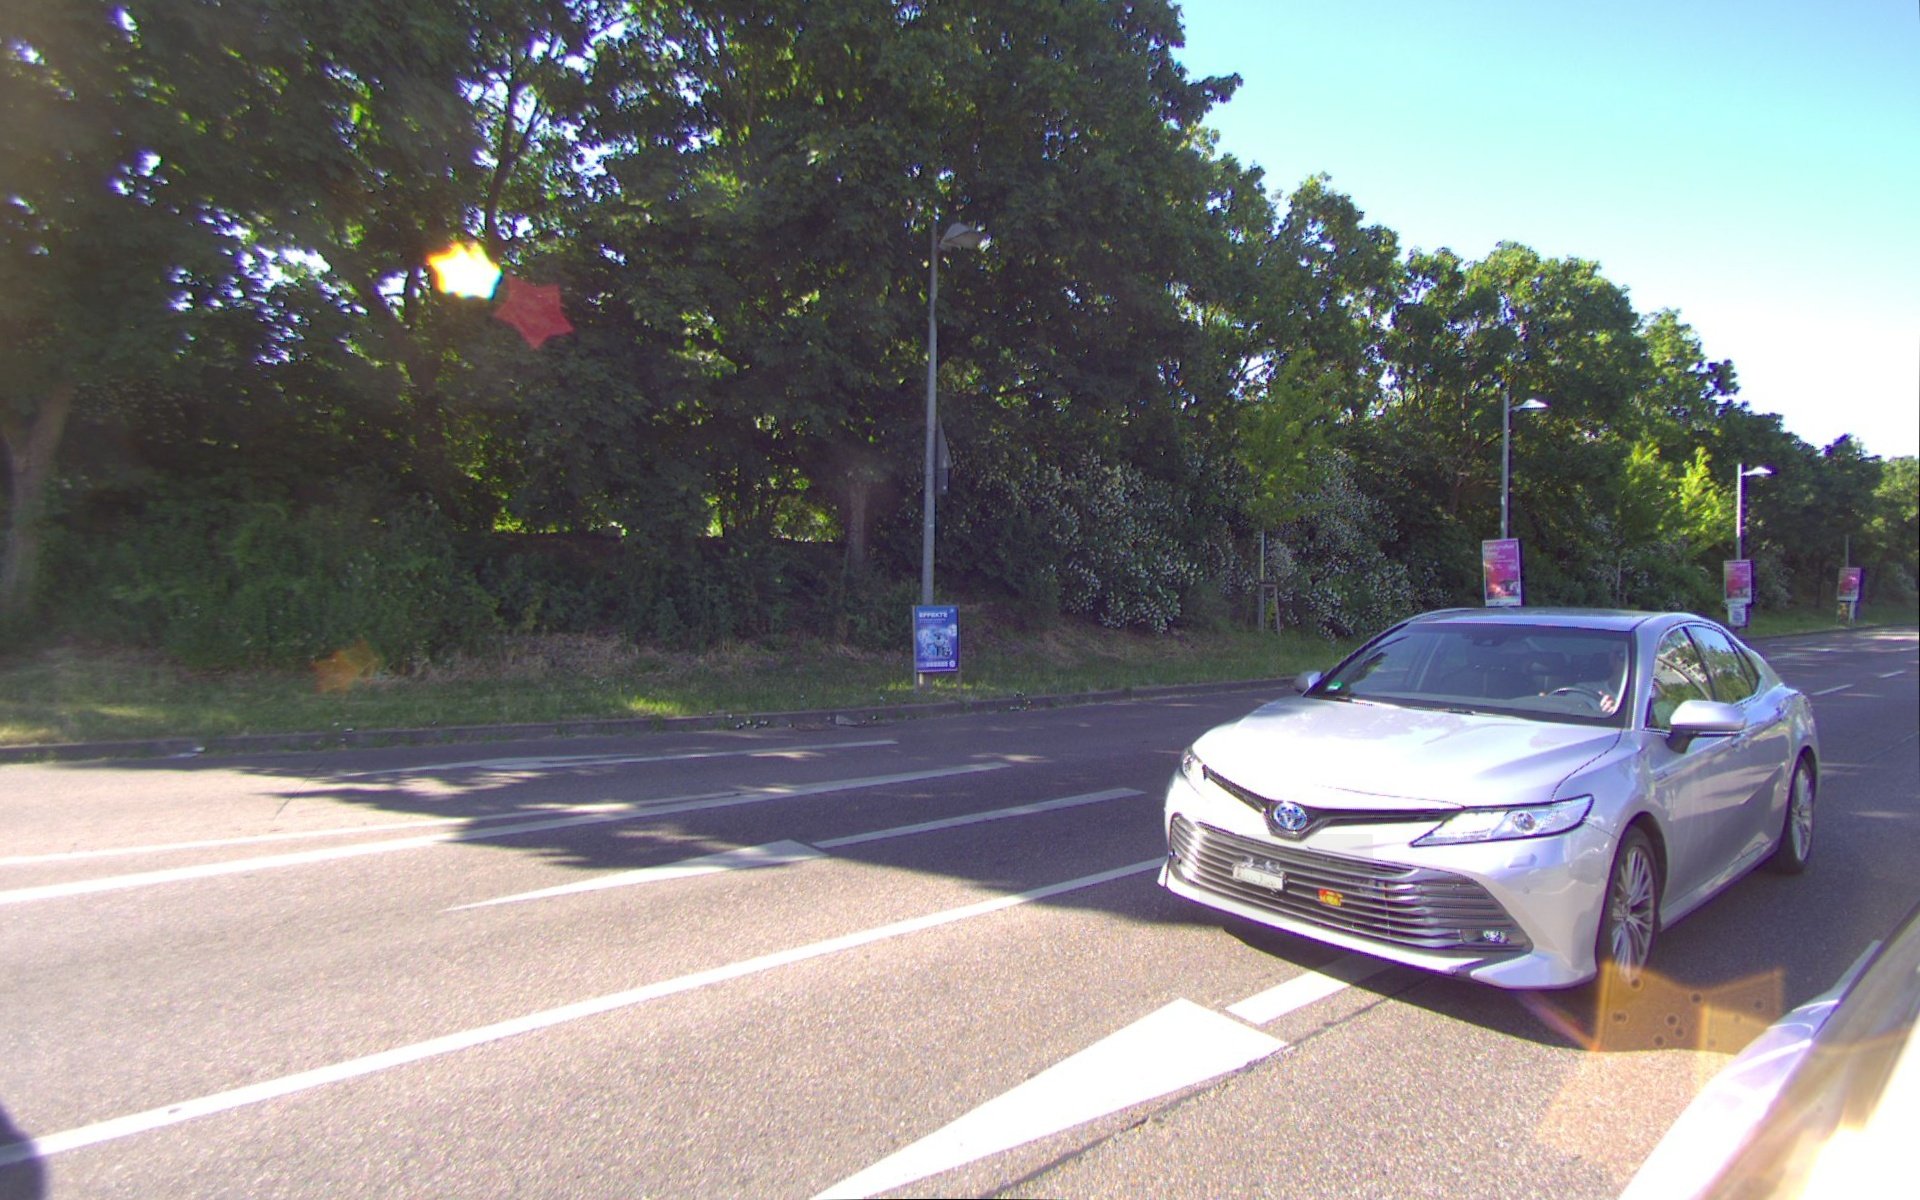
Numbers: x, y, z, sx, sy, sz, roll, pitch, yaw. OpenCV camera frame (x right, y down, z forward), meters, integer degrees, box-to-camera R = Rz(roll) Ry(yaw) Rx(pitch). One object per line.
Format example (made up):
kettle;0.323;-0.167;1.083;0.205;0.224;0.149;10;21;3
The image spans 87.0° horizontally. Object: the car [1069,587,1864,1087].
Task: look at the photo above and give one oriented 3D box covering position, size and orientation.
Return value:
car;2.951;0.699;5.356;4.664;1.477;2.069;0;2;-40
